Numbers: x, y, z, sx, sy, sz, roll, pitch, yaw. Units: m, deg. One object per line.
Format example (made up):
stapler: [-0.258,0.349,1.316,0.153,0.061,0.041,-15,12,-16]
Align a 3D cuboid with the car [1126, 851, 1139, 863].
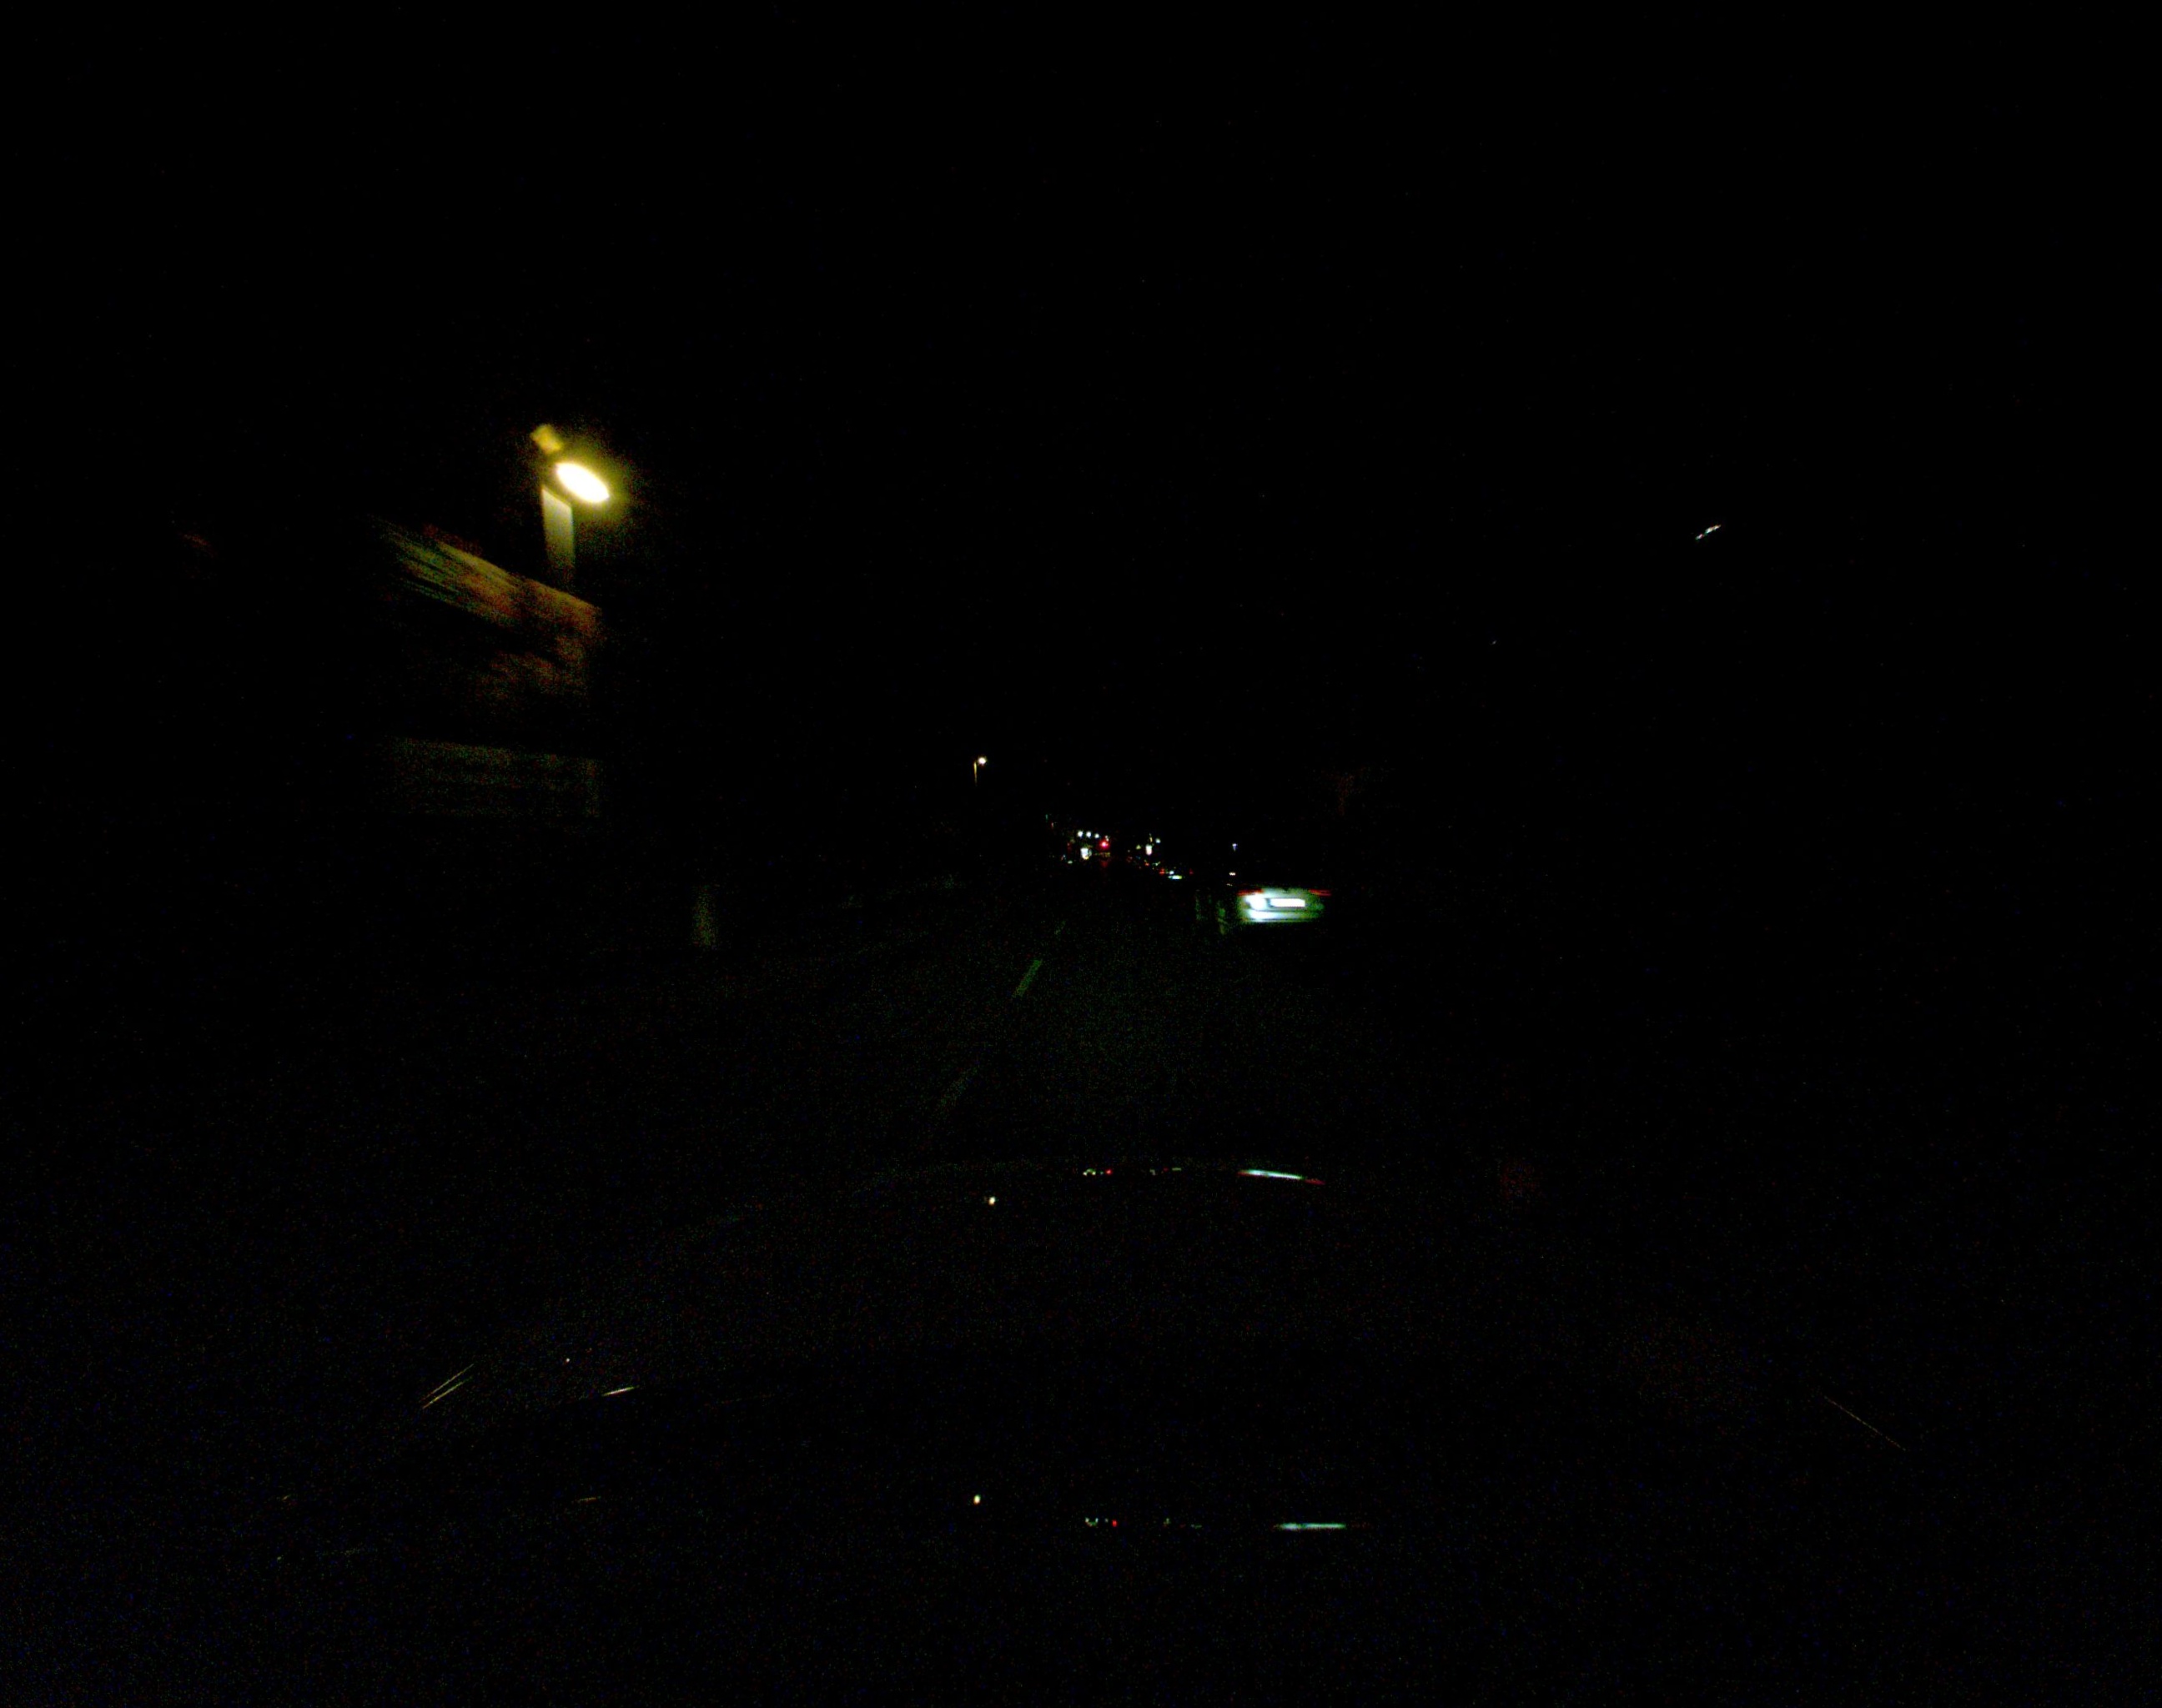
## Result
car: [6.948,0.346,109.680,1.675,1.539,4.003,-2,0,3]

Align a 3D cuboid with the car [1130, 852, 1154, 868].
car: [5.450,0.527,73.459,1.678,1.448,3.995,0,0,-3]

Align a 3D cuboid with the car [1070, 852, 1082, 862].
car: [-0.754,0.434,122.185,1.747,1.539,3.731,-2,0,1]

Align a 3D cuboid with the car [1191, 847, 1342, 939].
car: [3.283,0.620,15.275,1.758,1.475,4.273,0,0,-2]

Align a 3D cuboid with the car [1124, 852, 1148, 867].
car: [5.249,0.523,78.111,1.679,1.448,3.994,0,0,-4]

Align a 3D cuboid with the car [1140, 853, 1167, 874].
car: [5.195,0.637,57.999,1.859,1.403,4.007,0,0,6]

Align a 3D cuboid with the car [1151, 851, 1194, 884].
car: [4.269,0.606,38.439,1.624,1.439,3.864,-1,0,0]

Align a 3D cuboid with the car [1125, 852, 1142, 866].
car: [5.735,0.529,89.284,1.677,1.448,4.000,0,0,0]

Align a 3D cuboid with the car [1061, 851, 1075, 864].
car: [-1.673,0.456,105.072,1.748,1.539,3.728,-2,0,-2]

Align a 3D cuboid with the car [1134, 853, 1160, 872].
car: [5.043,0.628,62.854,1.677,1.448,3.999,0,0,0]
